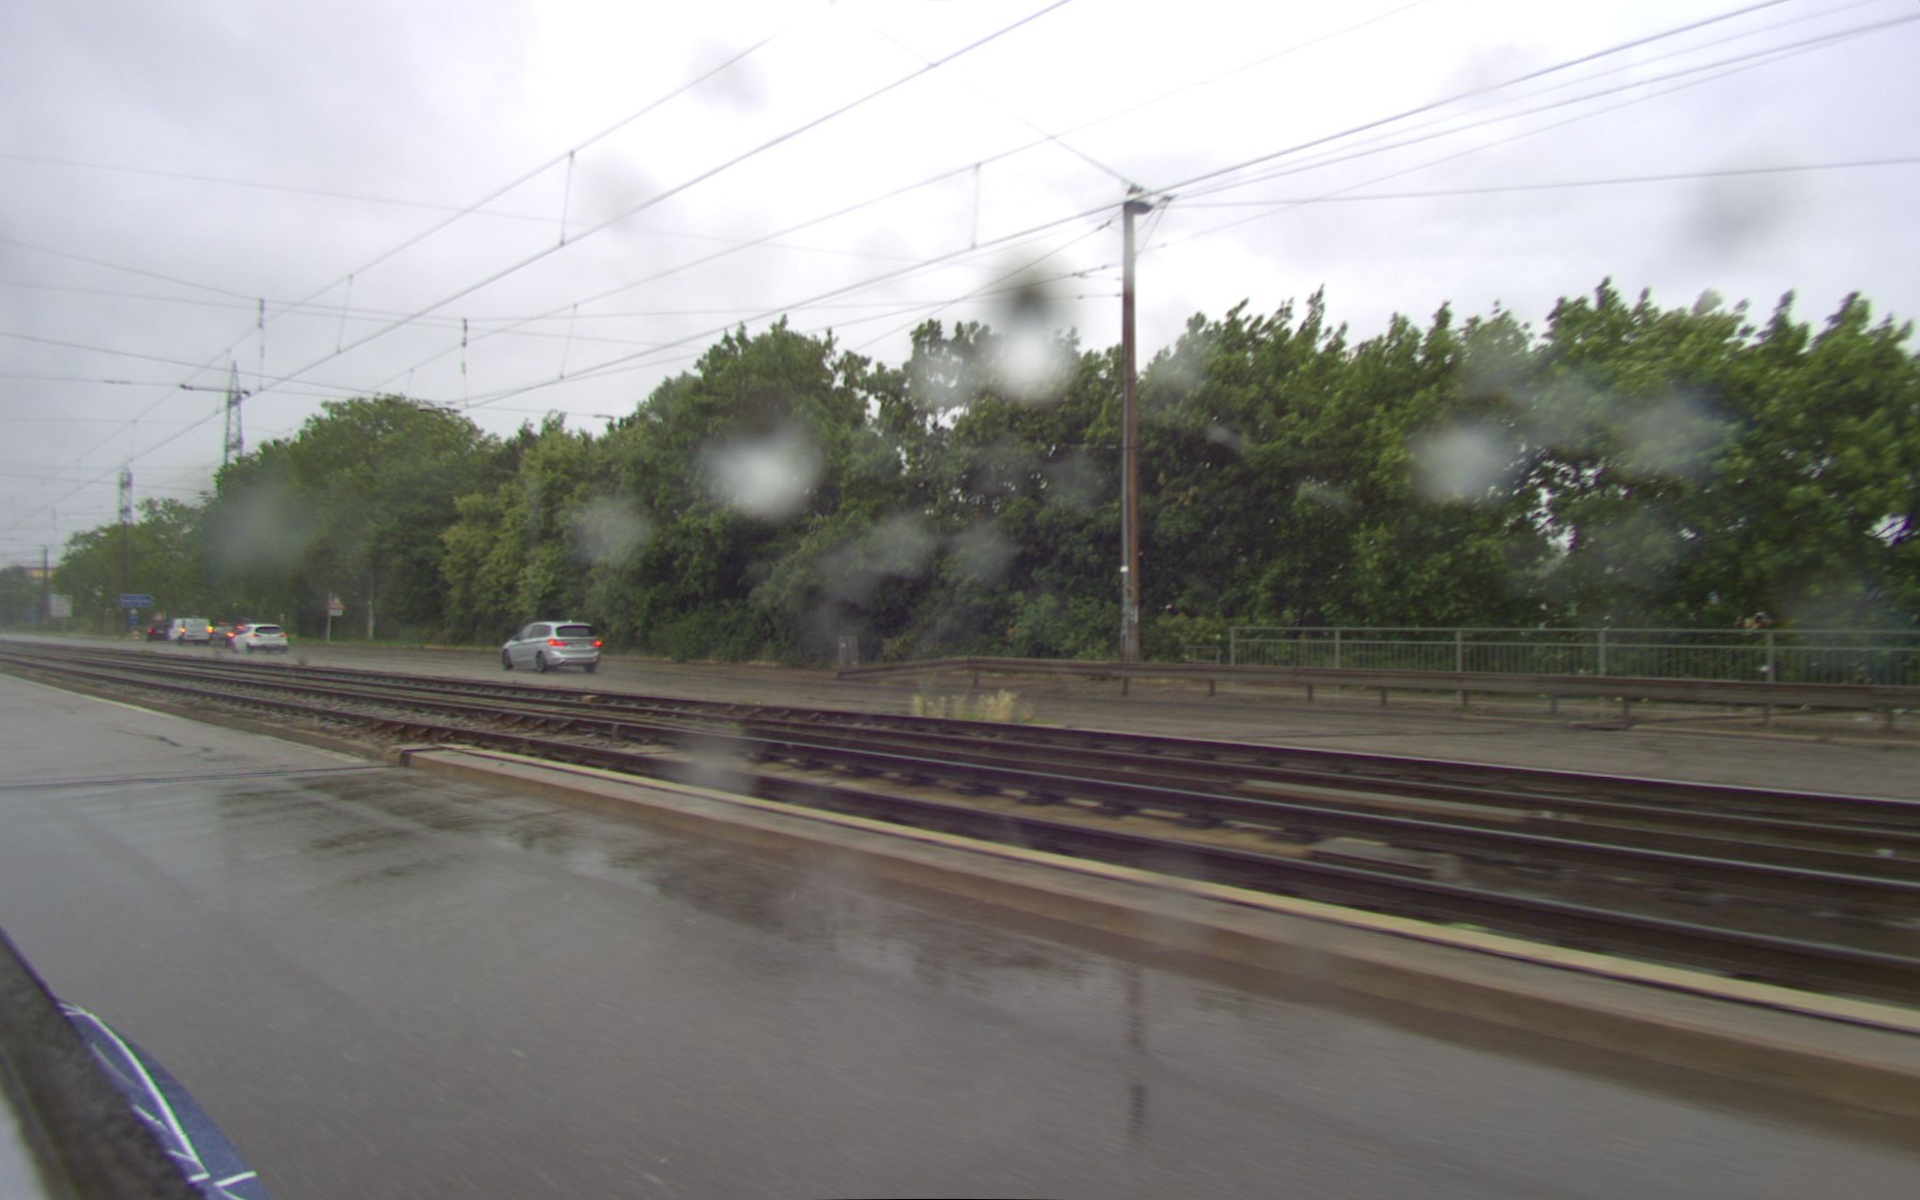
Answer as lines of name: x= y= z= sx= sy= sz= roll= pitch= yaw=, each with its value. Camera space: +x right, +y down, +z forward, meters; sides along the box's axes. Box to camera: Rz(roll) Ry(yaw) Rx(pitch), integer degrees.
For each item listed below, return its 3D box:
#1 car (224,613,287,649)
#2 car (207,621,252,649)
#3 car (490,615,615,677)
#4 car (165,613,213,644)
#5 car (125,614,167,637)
car: x=-35.920 y=1.559 z=51.604 sx=3.669 sy=1.642 sz=1.755 roll=0 pitch=2 yaw=41
car: x=-48.236 y=2.301 z=66.811 sx=1.753 sy=1.642 sz=3.673 roll=-4 pitch=3 yaw=-45
car: x=-13.214 y=1.420 z=32.694 sx=4.659 sy=1.724 sz=1.814 roll=0 pitch=2 yaw=41
car: x=-58.355 y=2.131 z=76.574 sx=4.146 sy=2.119 sz=2.162 roll=0 pitch=2 yaw=43
car: x=-68.147 y=2.130 z=84.716 sx=4.146 sy=1.710 sz=2.162 roll=0 pitch=2 yaw=43
